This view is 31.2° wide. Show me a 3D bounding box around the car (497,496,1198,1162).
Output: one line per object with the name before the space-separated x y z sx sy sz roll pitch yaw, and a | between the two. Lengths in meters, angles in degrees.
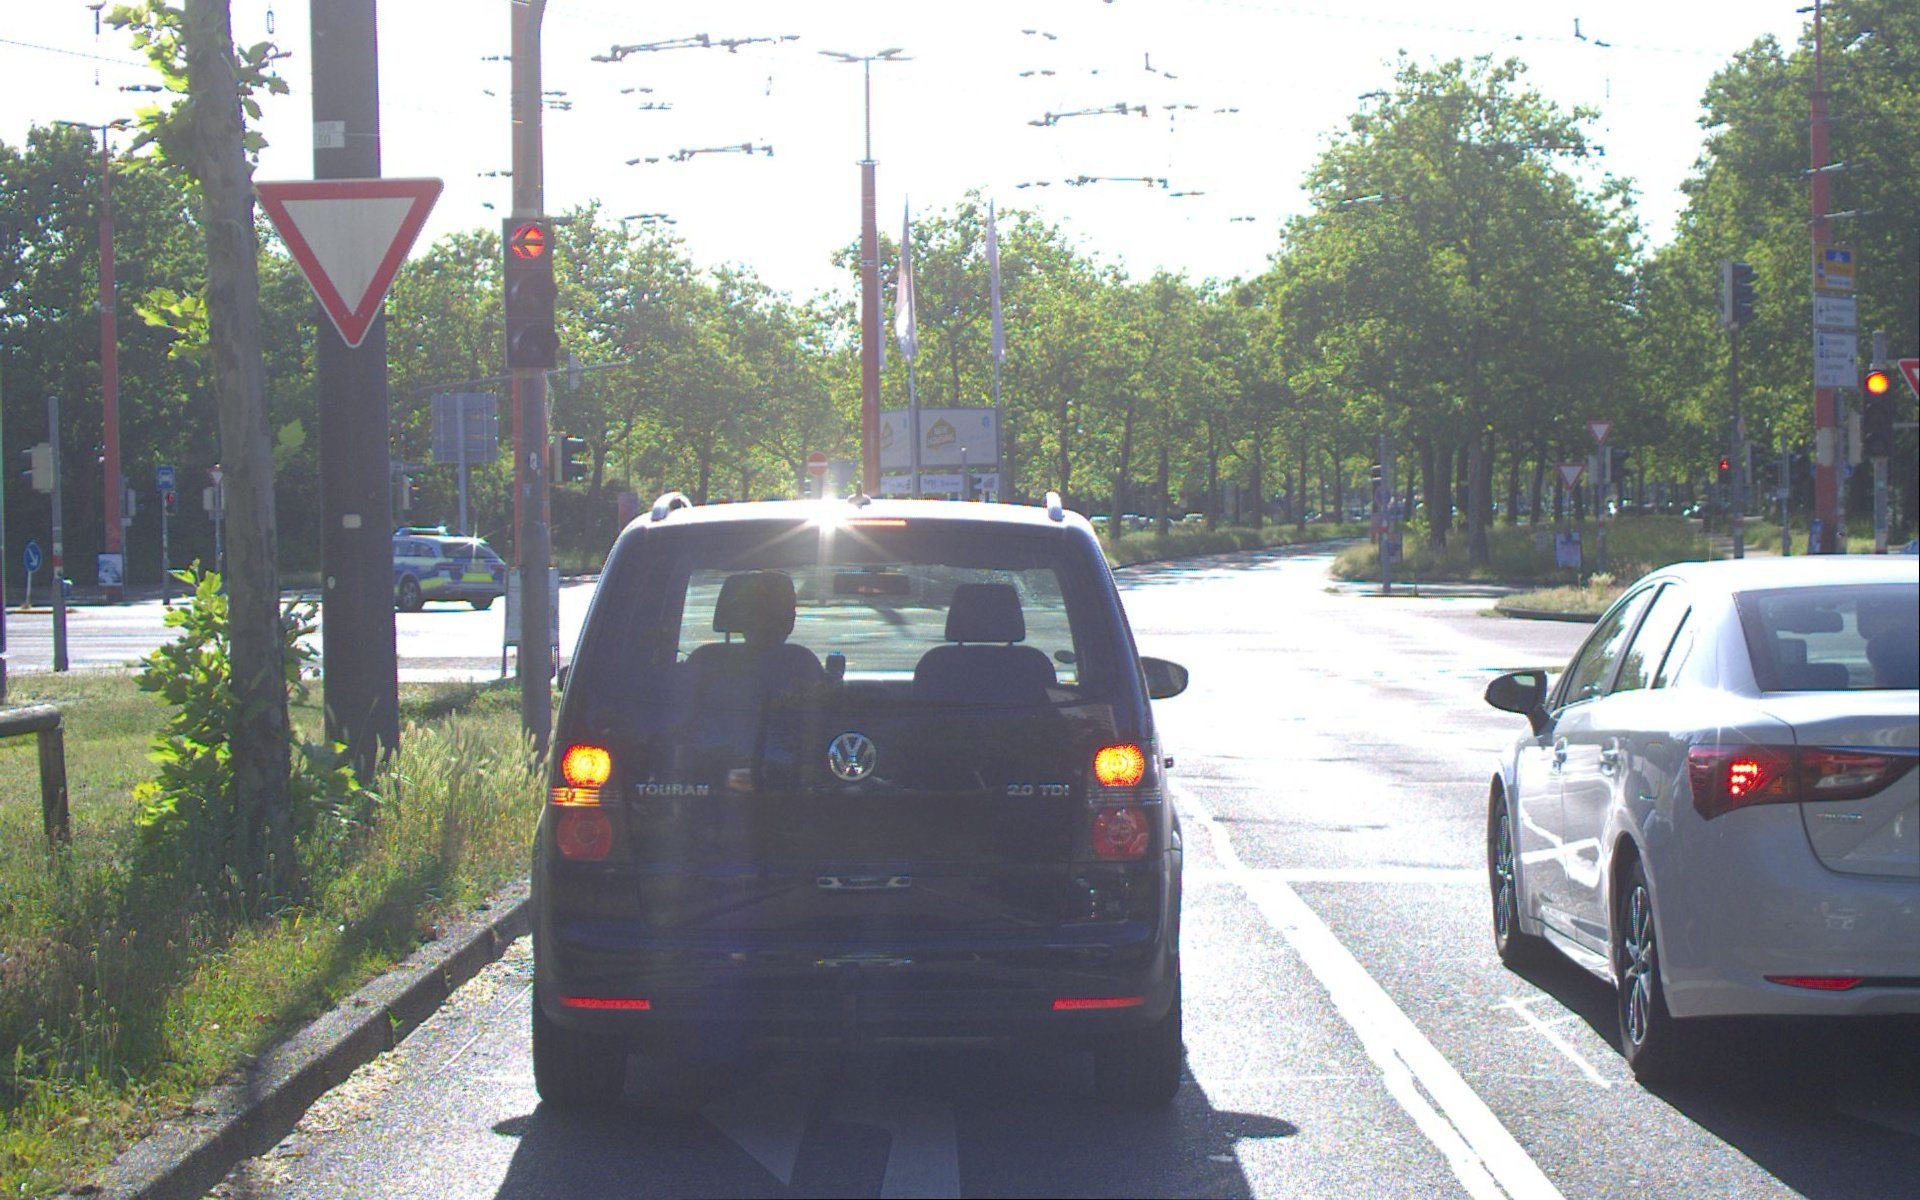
car | -0.302 0.520 10.335 1.700 1.616 3.897 0 1 -1

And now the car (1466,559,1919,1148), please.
car | 2.709 0.613 10.648 1.720 1.433 4.198 1 1 1

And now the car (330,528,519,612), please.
car | -10.862 -0.621 69.528 1.798 1.650 4.112 -1 1 -42

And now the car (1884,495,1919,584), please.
car | 19.378 -1.101 64.515 3.647 1.650 1.678 1 1 25
